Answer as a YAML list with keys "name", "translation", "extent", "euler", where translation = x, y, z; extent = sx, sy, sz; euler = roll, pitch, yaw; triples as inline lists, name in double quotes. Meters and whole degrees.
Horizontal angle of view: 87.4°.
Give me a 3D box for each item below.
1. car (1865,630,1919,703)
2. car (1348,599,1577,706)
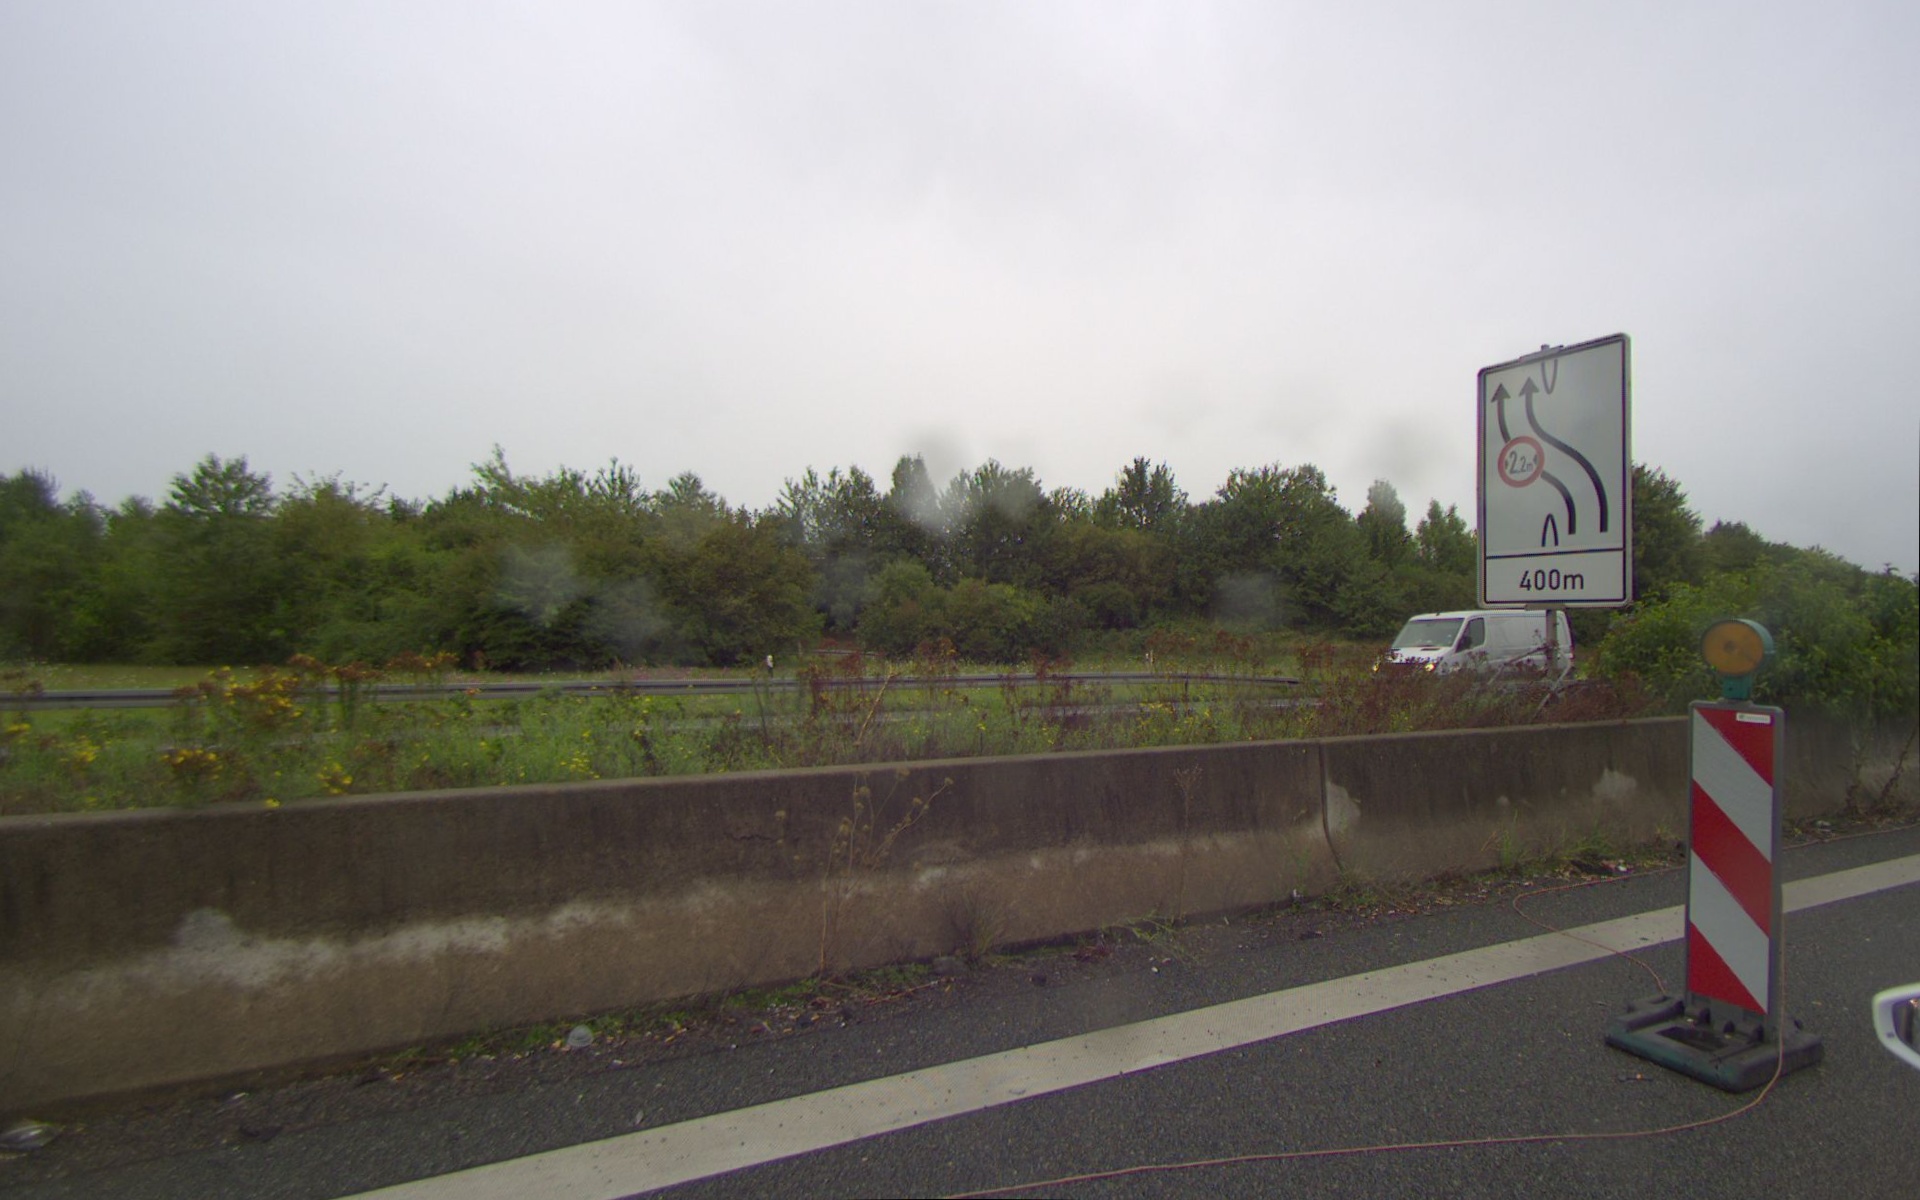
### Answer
- name: "car"
  translation: [29.516, 1.959, 30.214]
  extent: [4.720, 2.074, 1.985]
  euler: [1, -2, -29]
- name: "car"
  translation: [12.782, 1.272, 25.481]
  extent: [5.808, 2.473, 2.232]
  euler: [1, -2, -28]
